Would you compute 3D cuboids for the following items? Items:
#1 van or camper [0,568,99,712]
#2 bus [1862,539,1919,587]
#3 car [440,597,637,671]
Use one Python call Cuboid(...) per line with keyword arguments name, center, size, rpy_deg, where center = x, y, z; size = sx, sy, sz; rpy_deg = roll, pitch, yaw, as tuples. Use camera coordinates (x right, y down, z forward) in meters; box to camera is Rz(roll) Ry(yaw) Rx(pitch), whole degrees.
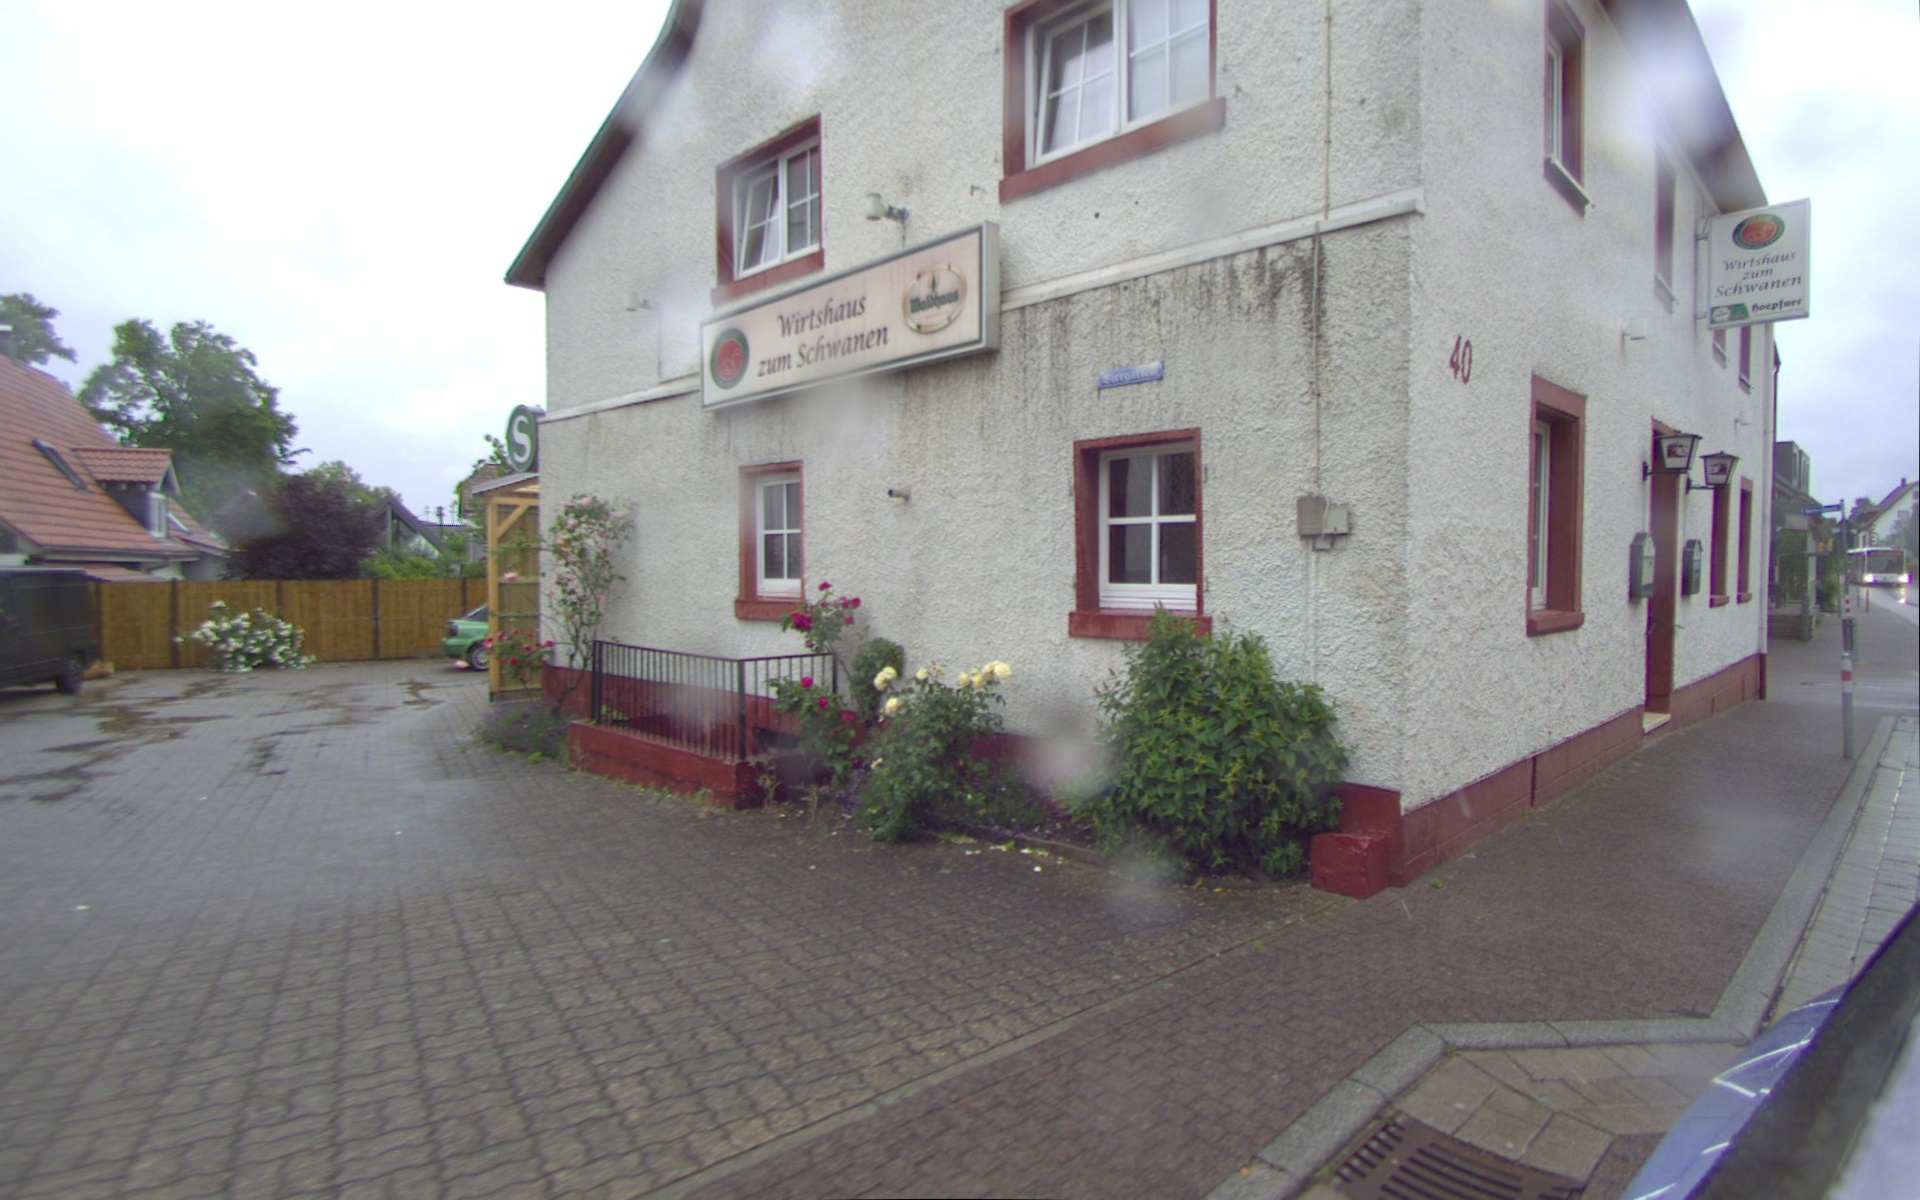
Cuboid(name="van or camper", center=(-15.062, 0.548, 15.058), size=(2.155, 2.039, 4.861), rpy_deg=(0, 1, -24))
Cuboid(name="bus", center=(76.164, -3.046, 82.705), size=(2.880, 3.654, 11.817), rpy_deg=(1, 2, 38))
Cuboid(name="car", center=(-9.071, 0.674, 21.849), size=(3.750, 1.393, 1.635), rpy_deg=(-1, 1, -30))
